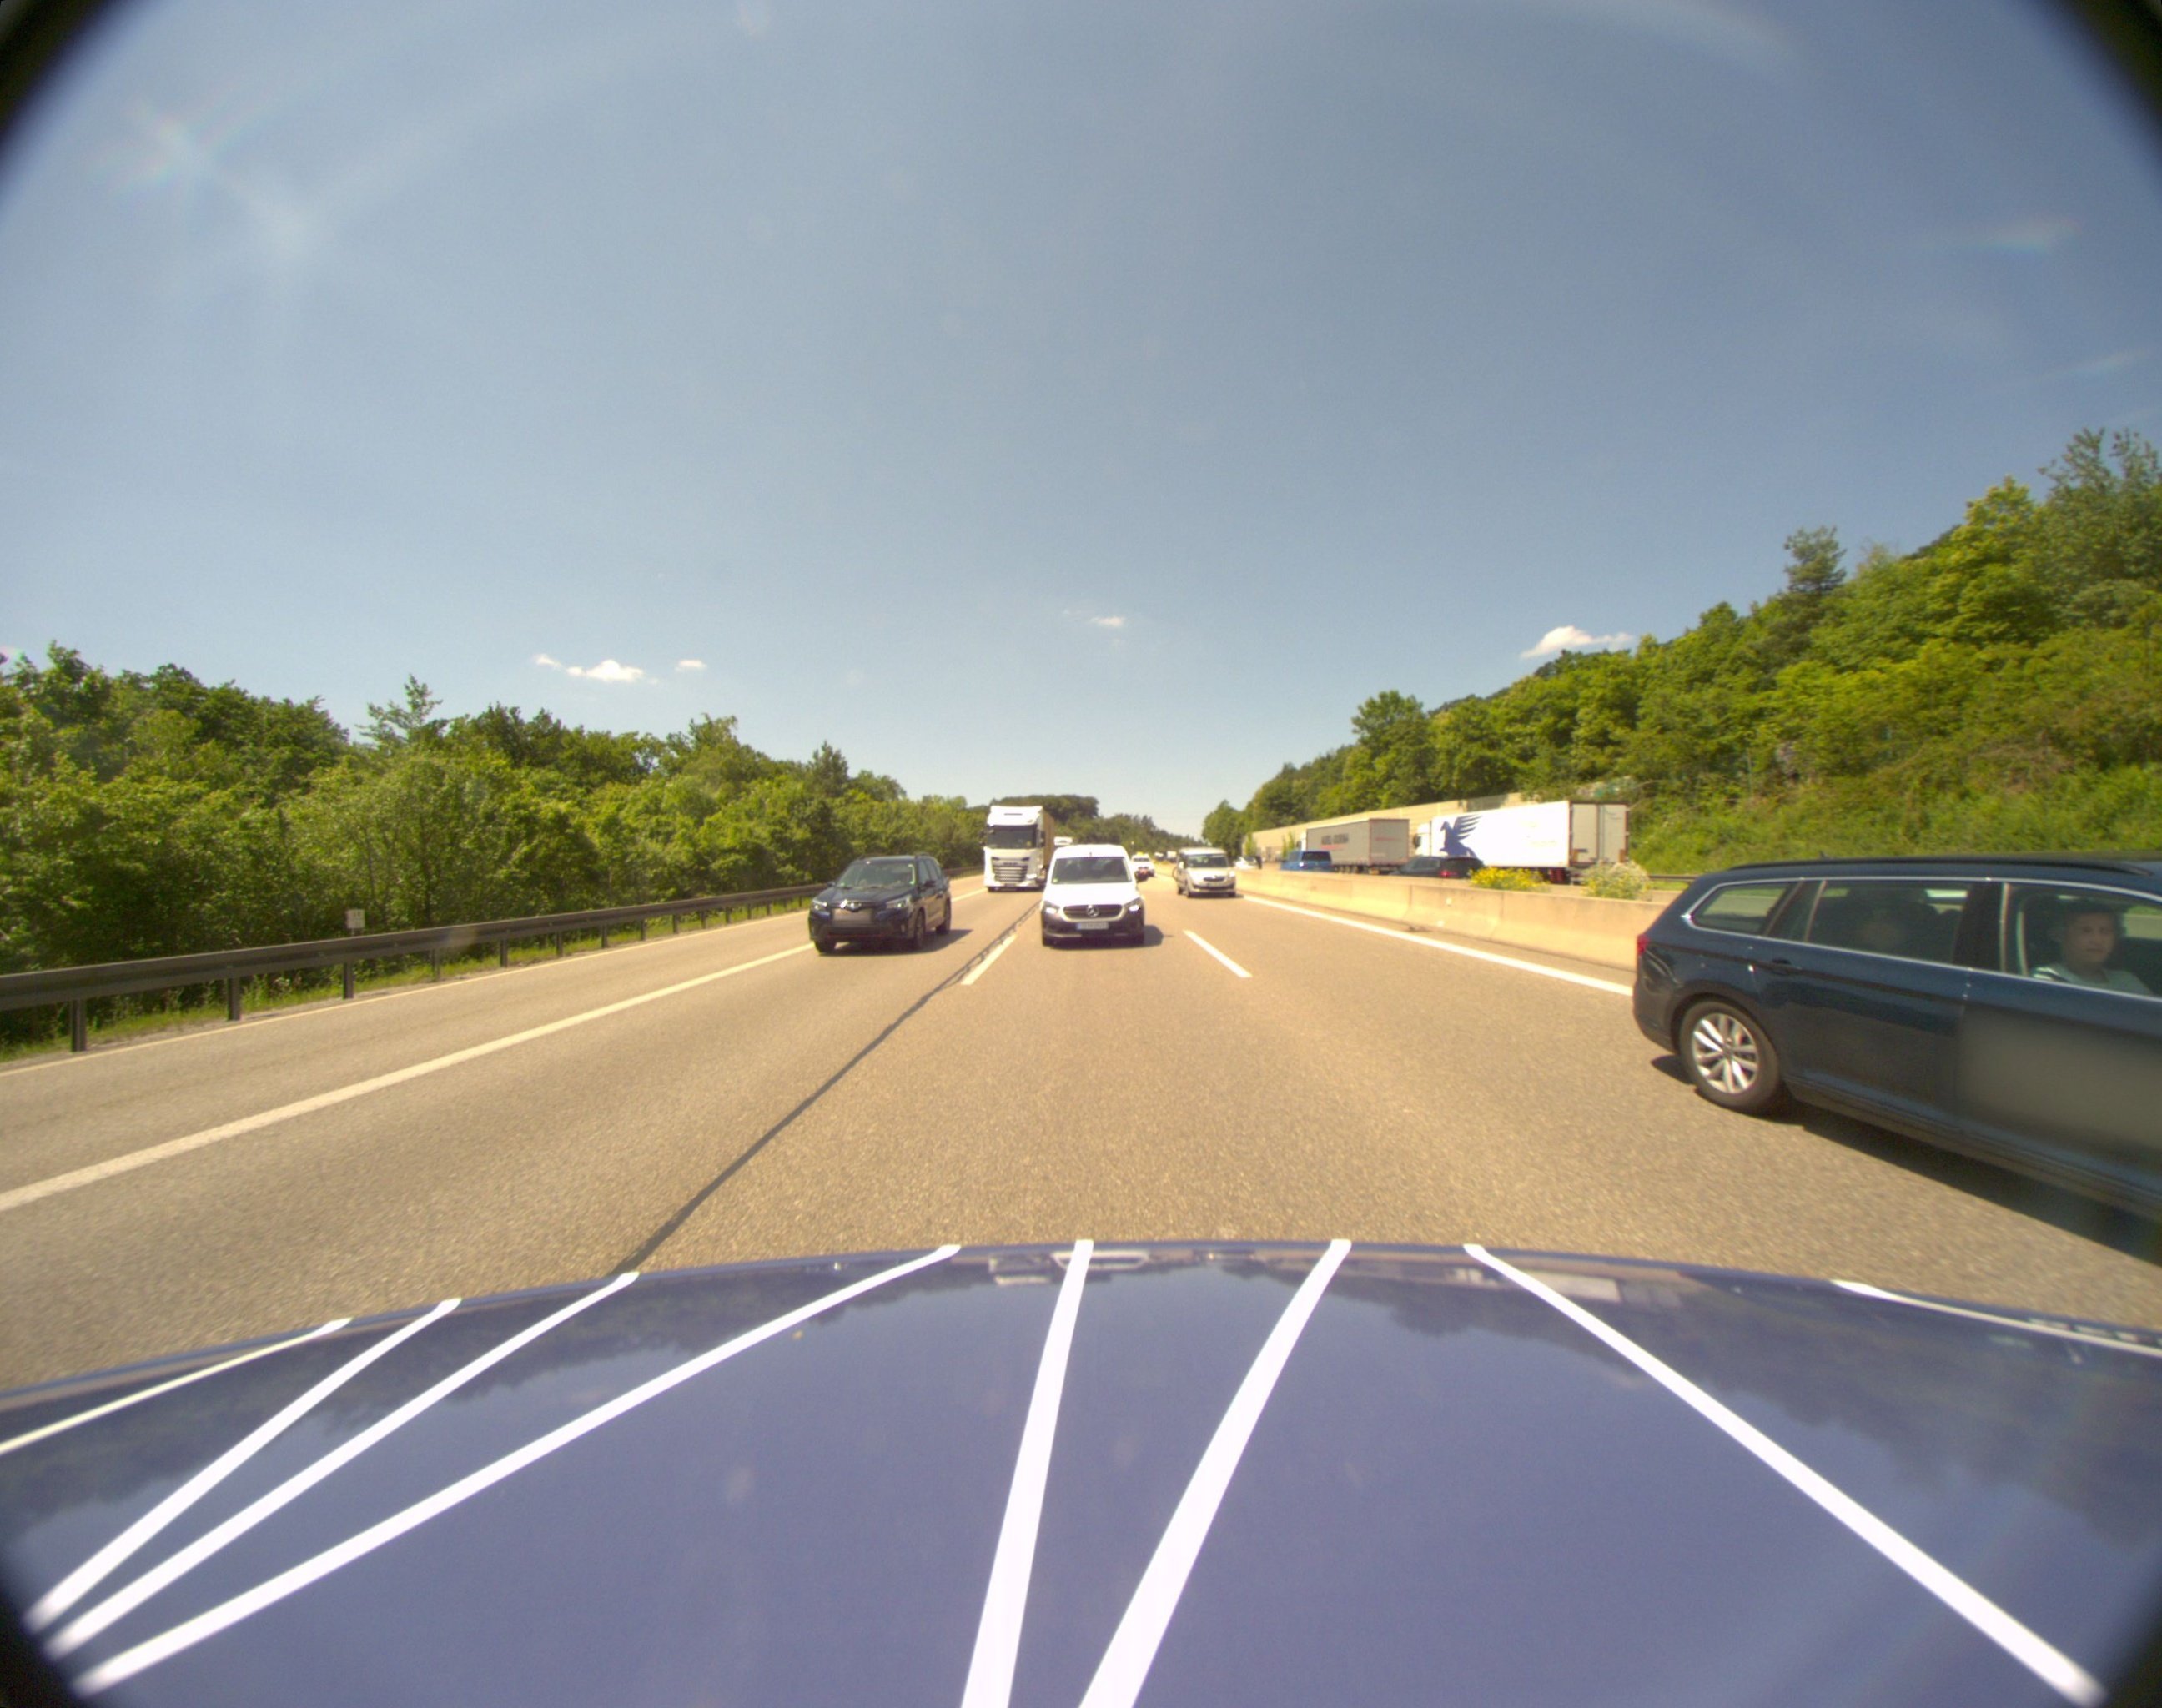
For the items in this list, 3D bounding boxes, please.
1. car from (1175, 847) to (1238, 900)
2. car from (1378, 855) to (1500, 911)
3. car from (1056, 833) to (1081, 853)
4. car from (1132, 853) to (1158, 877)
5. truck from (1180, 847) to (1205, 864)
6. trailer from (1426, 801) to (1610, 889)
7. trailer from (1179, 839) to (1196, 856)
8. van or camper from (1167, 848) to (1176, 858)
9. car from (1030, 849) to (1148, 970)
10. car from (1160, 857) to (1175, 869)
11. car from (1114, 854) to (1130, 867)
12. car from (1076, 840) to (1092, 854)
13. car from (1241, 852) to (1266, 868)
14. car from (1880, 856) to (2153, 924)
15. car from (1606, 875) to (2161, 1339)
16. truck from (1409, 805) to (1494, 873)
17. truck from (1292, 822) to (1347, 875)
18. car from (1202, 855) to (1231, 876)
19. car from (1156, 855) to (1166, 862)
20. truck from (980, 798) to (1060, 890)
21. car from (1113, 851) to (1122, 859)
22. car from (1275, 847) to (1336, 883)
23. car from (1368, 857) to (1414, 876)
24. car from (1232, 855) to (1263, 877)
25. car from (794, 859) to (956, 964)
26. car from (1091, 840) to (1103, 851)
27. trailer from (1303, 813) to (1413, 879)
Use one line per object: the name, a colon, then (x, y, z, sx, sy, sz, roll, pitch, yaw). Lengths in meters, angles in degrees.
car: (4.647, 0.674, 28.597, 1.780, 1.833, 4.000, 0, 0, 1)
car: (11.587, 0.881, 24.988, 1.911, 1.630, 4.537, -1, 0, 1)
car: (-1.586, -1.476, 100.010, 2.721, 2.534, 5.942, 1, 1, 4)
car: (4.962, 0.845, 59.443, 1.998, 1.827, 4.001, 0, 0, 4)
truck: (18.227, 0.143, 124.482, 2.534, 2.673, 11.627, 0, 1, 1)
trailer: (22.955, -0.488, 41.268, 2.814, 4.024, 12.625, 0, 1, 1)
trailer: (26.589, -1.619, 190.110, 2.819, 3.885, 13.828, 0, 1, 3)
van or camper: (24.125, -0.235, 203.116, 2.274, 2.720, 6.808, 1, 1, 5)
car: (0.205, 0.820, 13.455, 1.729, 1.760, 4.313, -1, 1, 2)
car: (13.570, 1.445, 119.227, 1.952, 1.791, 4.693, 0, 1, 1)
car: (5.515, 0.839, 103.167, 1.998, 1.783, 4.000, -1, 0, 1)
car: (0.672, -1.314, 144.998, 2.721, 2.534, 5.942, 1, 1, 4)
car: (20.688, 0.677, 91.208, 1.738, 1.799, 4.863, 0, 0, -1)
car: (22.833, 0.795, 18.851, 1.671, 1.458, 4.190, -1, 0, 1)
car: (4.371, 0.859, 2.757, 1.737, 1.419, 4.730, 0, 0, 1)
truck: (23.010, -0.918, 47.529, 2.814, 4.024, 5.084, 0, 1, 0)
truck: (19.662, -0.424, 62.968, 2.848, 4.189, 5.660, -1, 0, 1)
car: (12.728, 1.050, 71.601, 1.998, 1.783, 4.000, 0, 1, 1)
car: (16.086, 0.808, 152.364, 1.618, 1.368, 4.270, 0, 0, 1)
truck: (-2.965, -0.465, 42.260, 2.789, 4.144, 16.268, 0, 0, 1)
car: (8.519, 0.220, 175.199, 1.998, 2.002, 4.001, 0, 0, 3)
car: (12.385, 0.571, 42.258, 1.916, 1.836, 5.035, 0, 1, 1)
car: (23.615, 0.957, 58.121, 1.767, 1.362, 4.501, 0, 0, 1)
car: (16.319, 1.156, 74.777, 1.998, 1.938, 4.748, 0, 1, 0)
car: (-3.703, 0.949, 14.484, 1.816, 1.658, 4.204, -1, 0, 1)
car: (4.006, -2.032, 186.717, 2.721, 2.534, 5.942, 1, 1, 4)
trailer: (19.552, -0.593, 55.122, 2.842, 4.141, 14.737, 0, 1, 1)
